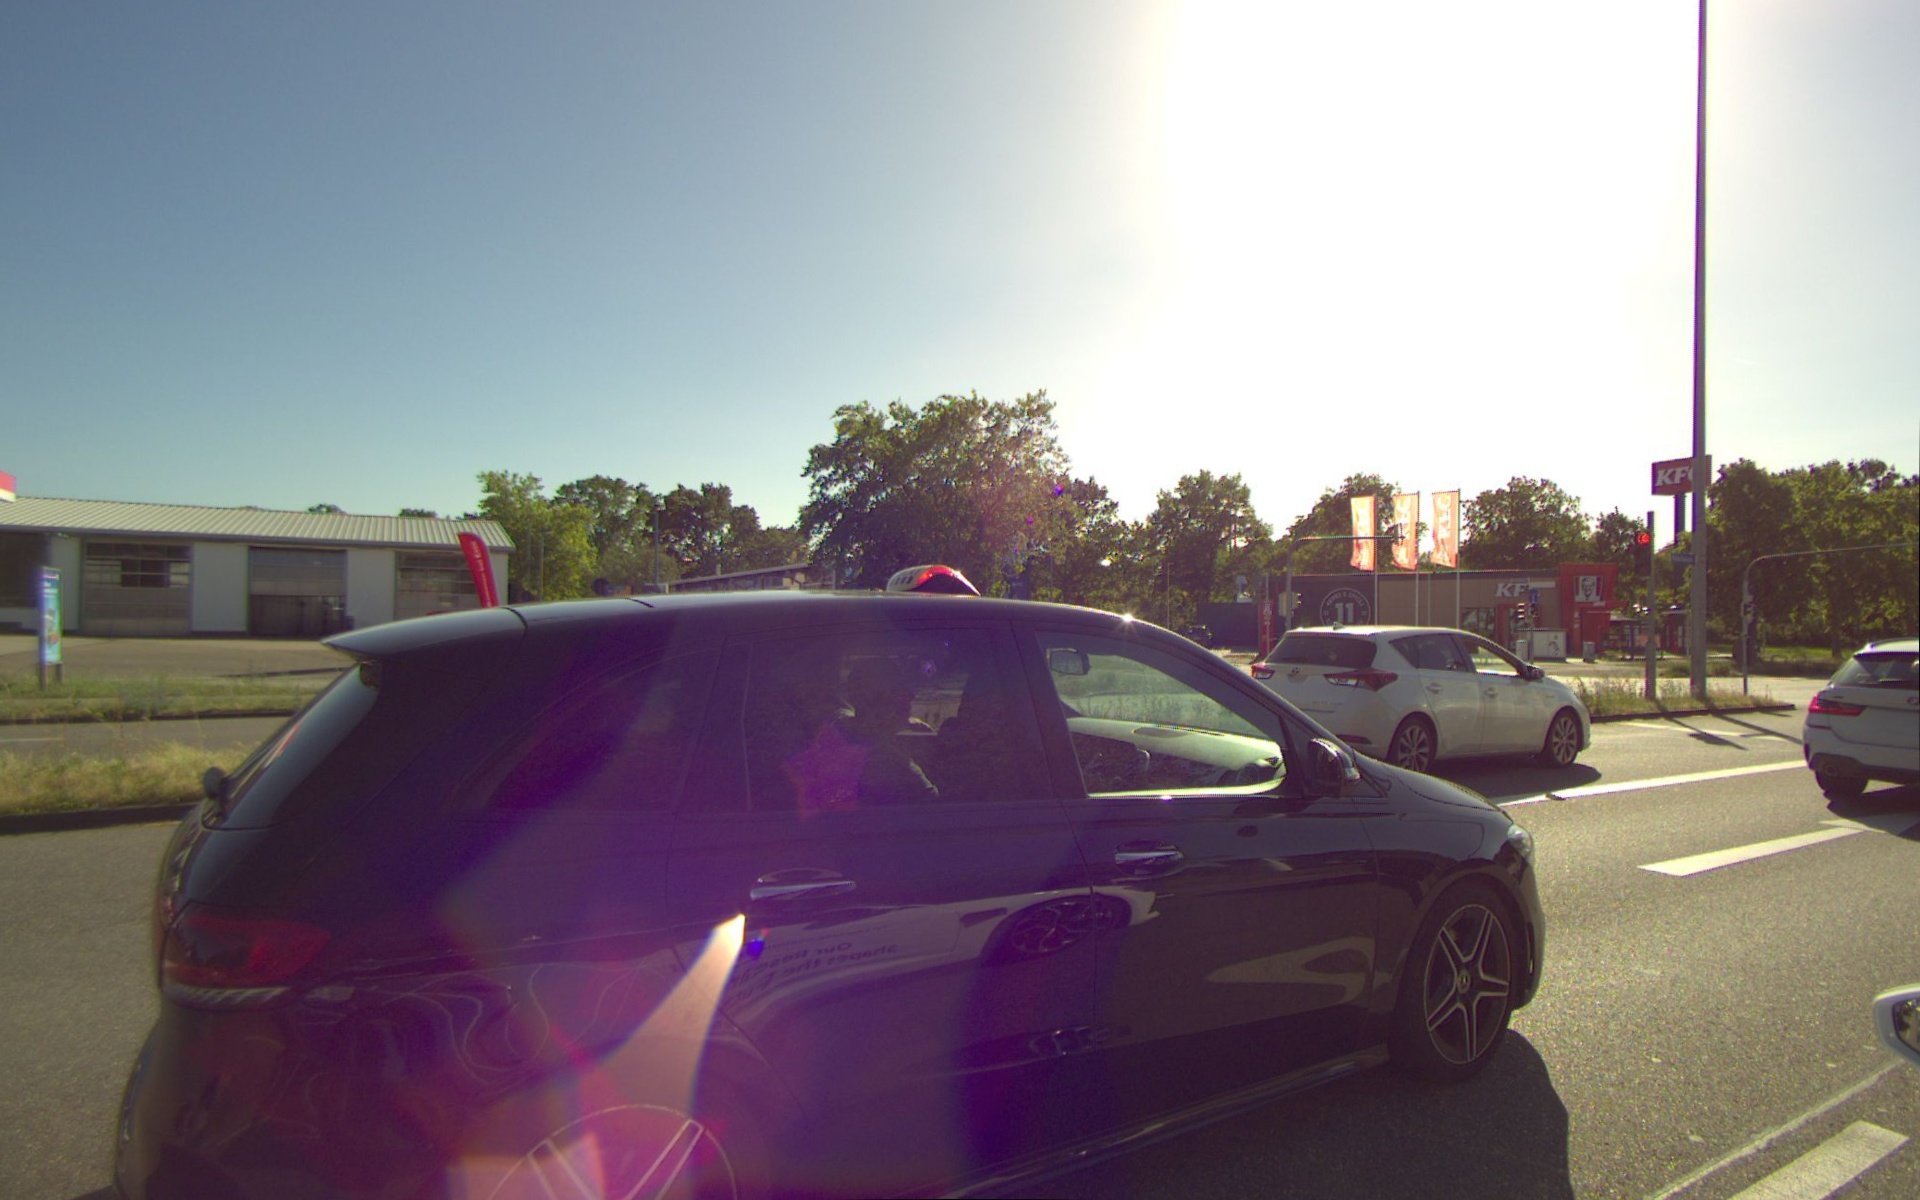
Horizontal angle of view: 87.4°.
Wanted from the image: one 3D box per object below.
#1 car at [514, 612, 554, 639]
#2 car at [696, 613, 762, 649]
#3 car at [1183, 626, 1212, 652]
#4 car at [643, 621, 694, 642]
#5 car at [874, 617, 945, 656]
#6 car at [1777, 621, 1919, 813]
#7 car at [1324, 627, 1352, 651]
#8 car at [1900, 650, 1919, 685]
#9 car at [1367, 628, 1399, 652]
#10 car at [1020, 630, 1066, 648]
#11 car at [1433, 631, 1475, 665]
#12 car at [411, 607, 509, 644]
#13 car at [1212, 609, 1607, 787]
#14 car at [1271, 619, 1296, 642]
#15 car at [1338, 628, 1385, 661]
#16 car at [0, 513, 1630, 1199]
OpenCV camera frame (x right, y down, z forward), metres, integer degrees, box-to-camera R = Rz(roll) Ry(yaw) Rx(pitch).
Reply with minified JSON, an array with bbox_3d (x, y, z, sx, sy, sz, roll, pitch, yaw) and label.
[{"bbox_3d":[-24.166,1.423,56.945,1.635,1.383,3.744,2,0,-29],"label":"car"},{"bbox_3d":[-11.603,1.528,50.335,1.979,1.584,3.964,2,0,-33],"label":"car"},{"bbox_3d":[17.103,2.761,72.310,1.629,1.695,3.945,2,0,18],"label":"car"},{"bbox_3d":[-24.525,2.666,84.666,3.930,1.634,1.996,2,0,-11],"label":"car"},{"bbox_3d":[-2.405,1.672,46.742,1.839,1.613,3.974,2,0,-26],"label":"car"},{"bbox_3d":[9.519,1.026,9.224,4.354,1.510,1.775,2,0,-32],"label":"car"},{"bbox_3d":[26.458,2.721,70.450,1.629,1.491,3.919,2,0,18],"label":"car"},{"bbox_3d":[43.180,2.951,43.963,4.426,1.510,1.751,2,-3,-30],"label":"car"},{"bbox_3d":[29.093,2.746,69.181,1.629,1.491,3.919,2,0,18],"label":"car"},{"bbox_3d":[7.382,3.482,89.560,3.864,1.481,1.663,0,-1,14],"label":"car"},{"bbox_3d":[28.266,2.726,57.434,1.880,1.776,4.349,2,0,29],"label":"car"},{"bbox_3d":[-23.125,1.193,46.568,3.946,1.536,1.772,2,0,-25],"label":"car"},{"bbox_3d":[4.810,0.936,10.606,4.150,1.510,1.750,2,0,-32],"label":"car"},{"bbox_3d":[22.851,2.128,70.973,1.629,1.491,3.919,2,0,18],"label":"car"},{"bbox_3d":[23.519,2.565,58.745,1.964,1.788,4.349,2,0,29],"label":"car"},{"bbox_3d":[0.010,0.720,3.082,4.354,1.510,1.750,2,-1,-32],"label":"car"}]
